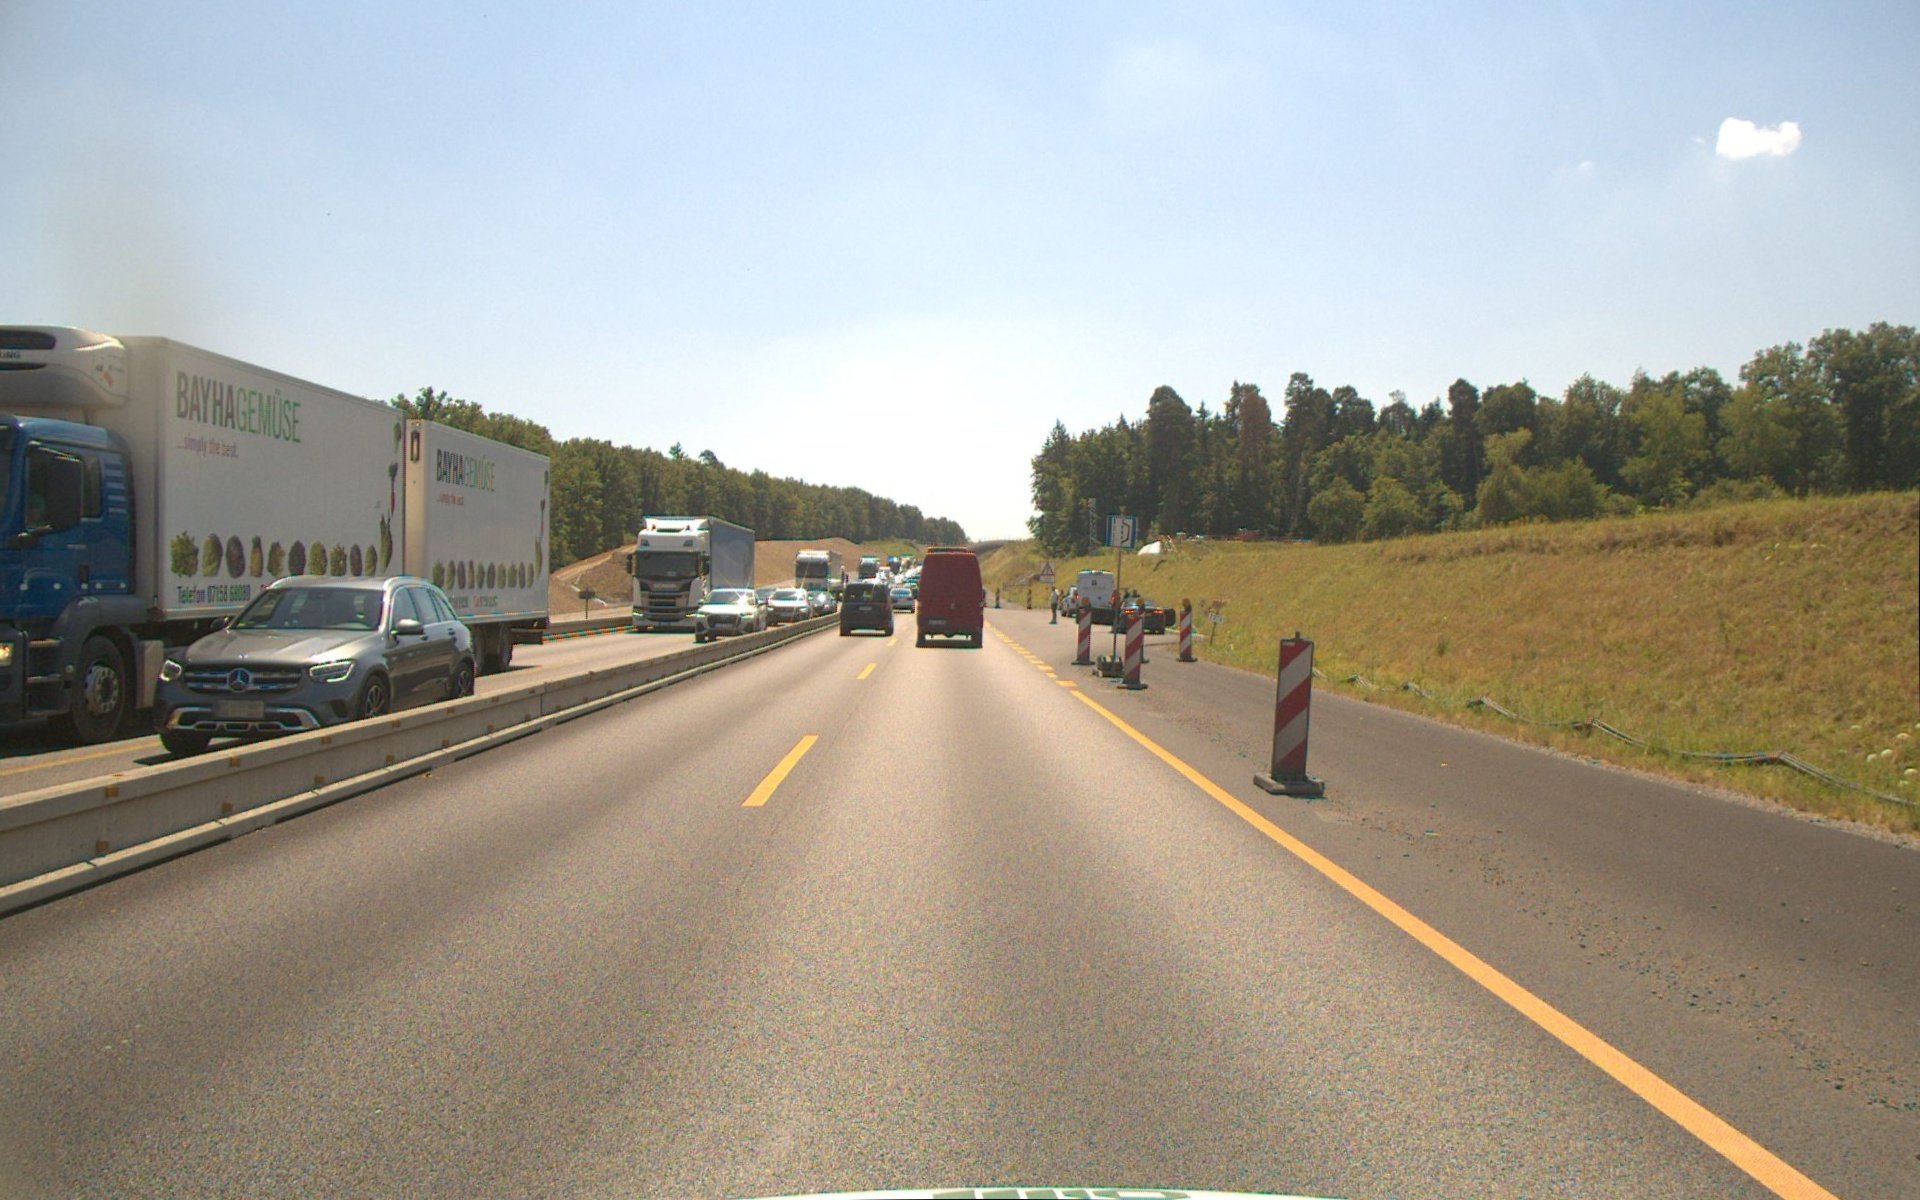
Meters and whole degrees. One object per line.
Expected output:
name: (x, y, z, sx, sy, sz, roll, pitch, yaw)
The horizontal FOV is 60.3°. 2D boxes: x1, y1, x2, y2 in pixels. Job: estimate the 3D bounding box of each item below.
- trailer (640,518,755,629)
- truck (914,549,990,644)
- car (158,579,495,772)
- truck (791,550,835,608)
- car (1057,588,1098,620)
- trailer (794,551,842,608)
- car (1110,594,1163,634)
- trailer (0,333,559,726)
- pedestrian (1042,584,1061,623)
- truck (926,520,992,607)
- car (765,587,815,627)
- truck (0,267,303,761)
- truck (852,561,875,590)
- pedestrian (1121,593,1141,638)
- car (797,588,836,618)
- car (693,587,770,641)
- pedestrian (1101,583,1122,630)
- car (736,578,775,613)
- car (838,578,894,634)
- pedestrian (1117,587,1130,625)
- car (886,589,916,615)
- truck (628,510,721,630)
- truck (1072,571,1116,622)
trailer: (-10.442, -0.997, 67.347, 2.599, 4.007, 13.993, 1, 0, -1)
truck: (-0.258, -0.071, 49.487, 2.109, 2.635, 5.332, 1, -1, -1)
car: (-6.119, 0.678, 16.596, 1.654, 1.642, 4.592, 1, -1, -1)
truck: (-10.813, -1.492, 122.141, 2.712, 4.114, 4.942, 1, -1, 0)
car: (6.969, 0.210, 98.455, 1.739, 1.706, 4.851, 2, 1, -4)
trailer: (-10.946, -1.578, 129.026, 2.734, 4.146, 13.708, 1, 0, -1)
car: (7.074, 0.542, 66.621, 1.620, 1.451, 4.545, -2, 1, 0)
trailer: (-9.356, -0.781, 25.816, 2.451, 4.252, 15.532, -1, 0, 0)
pedestrian: (4.493, 0.167, 81.081, 0.713, 1.860, 0.715, 1, -1, -21)
truck: (-0.166, -2.405, 118.541, 4.311, 5.592, 16.599, 1, -1, -1)
car: (-7.096, 0.262, 69.289, 1.740, 1.582, 4.138, -1, 0, -2)
truck: (-9.297, -0.735, 17.266, 2.440, 4.272, 5.911, -1, 0, 0)
truck: (-12.954, -3.266, 223.114, 2.457, 3.680, 9.640, 1, -1, 0)
pedestrian: (7.210, 0.650, 69.663, 0.613, 1.860, 0.640, 1, 0, -13)
car: (-7.246, 0.167, 83.836, 1.694, 1.411, 4.859, 1, -1, -2)
car: (-6.746, 0.421, 49.161, 1.771, 1.514, 4.241, 1, -1, -2)
pedestrian: (6.089, 0.245, 66.435, 0.631, 1.860, 0.555, 1, 0, -22)
car: (-11.410, -0.231, 92.612, 1.682, 1.908, 3.999, 1, -1, 0)
car: (-3.257, 0.199, 58.166, 1.716, 1.856, 4.782, 1, 0, -1)
pedestrian: (7.993, 0.306, 80.815, 0.552, 1.827, 0.667, 1, -1, -2)
car: (-3.644, 0.160, 102.763, 1.794, 1.549, 3.960, 1, -1, -1)
truck: (-10.301, -1.046, 60.121, 2.539, 4.124, 5.148, 1, 0, -2)
truck: (6.901, -0.196, 84.708, 2.084, 2.500, 5.930, 1, 1, 6)
